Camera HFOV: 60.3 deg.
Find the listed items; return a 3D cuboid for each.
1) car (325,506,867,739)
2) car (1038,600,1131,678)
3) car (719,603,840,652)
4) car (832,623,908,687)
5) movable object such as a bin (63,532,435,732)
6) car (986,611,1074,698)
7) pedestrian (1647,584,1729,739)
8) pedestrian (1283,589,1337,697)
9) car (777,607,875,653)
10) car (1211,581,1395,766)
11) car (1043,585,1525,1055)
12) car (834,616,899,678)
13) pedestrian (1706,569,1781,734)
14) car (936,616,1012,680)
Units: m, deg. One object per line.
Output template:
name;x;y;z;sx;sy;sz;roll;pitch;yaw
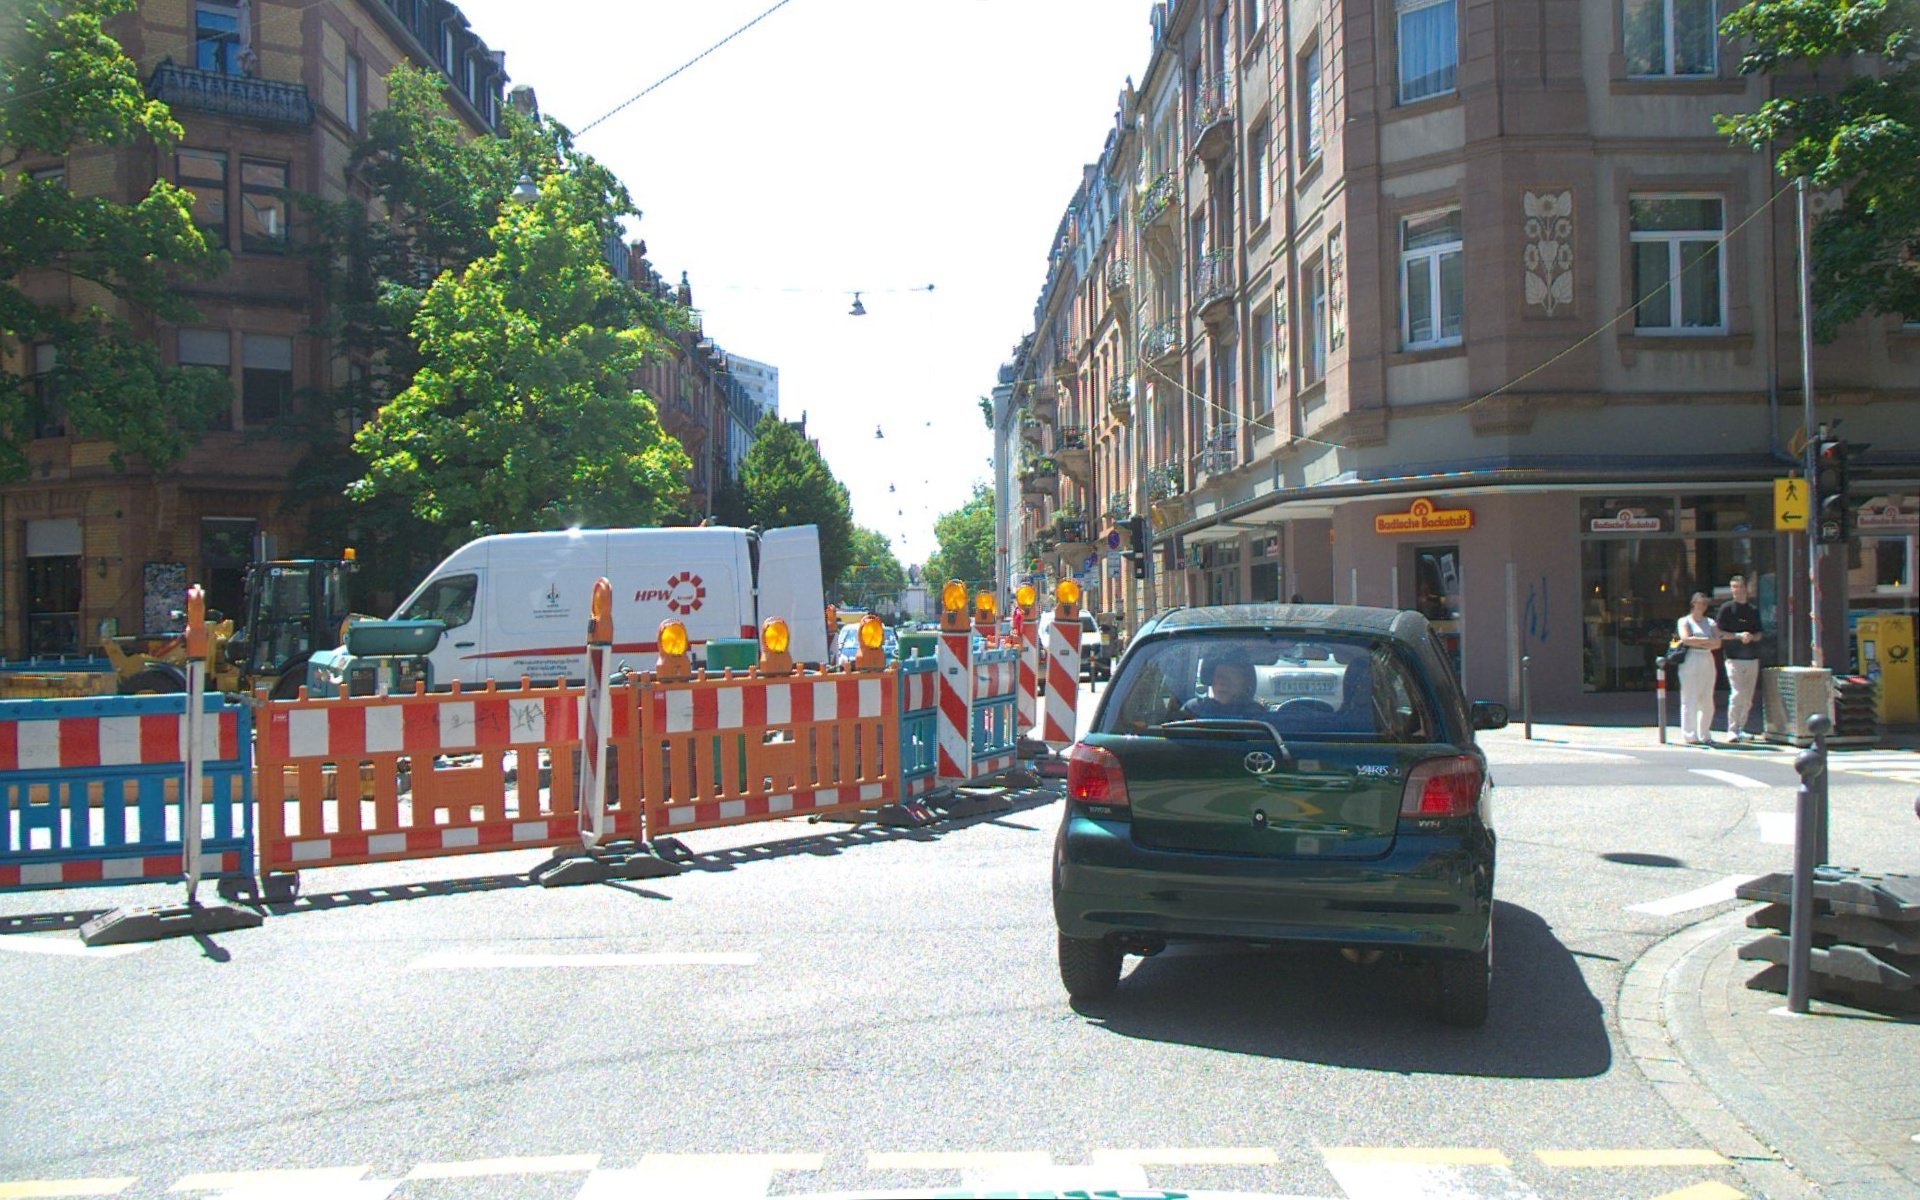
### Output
car;-4.539;0.294;21.564;6.486;2.800;2.379;1;-1;0
car;3.022;0.938;41.005;1.833;1.743;4.503;-3;-1;-1
car;-7.710;1.160;70.721;4.724;2.029;2.032;0;-1;-31
car;-2.216;1.333;41.491;1.719;1.469;3.999;-2;-1;-1
movable object such as a bin;-10.096;0.461;23.788;4.453;2.706;1.953;1;-1;-4
car;1.361;1.050;33.198;1.492;1.620;3.262;-1;0;-2
pedestrian;8.193;0.679;18.611;0.689;1.673;0.422;-3;3;-10
pedestrian;5.444;0.661;25.785;0.628;1.652;0.804;-1;-1;-1
car;-6.748;1.504;83.389;4.507;2.226;1.981;0;-1;-29
car;3.231;0.632;15.577;1.490;1.547;3.266;-1;0;12
car;1.483;0.732;7.101;1.579;1.511;3.243;0;-1;15
car;-2.795;1.393;50.149;1.719;1.674;4.376;-4;-1;-1
pedestrian;8.897;0.573;18.784;0.564;1.799;0.470;-3;3;-10
car;0.361;1.351;47.498;1.954;1.646;3.998;-4;-1;-2
